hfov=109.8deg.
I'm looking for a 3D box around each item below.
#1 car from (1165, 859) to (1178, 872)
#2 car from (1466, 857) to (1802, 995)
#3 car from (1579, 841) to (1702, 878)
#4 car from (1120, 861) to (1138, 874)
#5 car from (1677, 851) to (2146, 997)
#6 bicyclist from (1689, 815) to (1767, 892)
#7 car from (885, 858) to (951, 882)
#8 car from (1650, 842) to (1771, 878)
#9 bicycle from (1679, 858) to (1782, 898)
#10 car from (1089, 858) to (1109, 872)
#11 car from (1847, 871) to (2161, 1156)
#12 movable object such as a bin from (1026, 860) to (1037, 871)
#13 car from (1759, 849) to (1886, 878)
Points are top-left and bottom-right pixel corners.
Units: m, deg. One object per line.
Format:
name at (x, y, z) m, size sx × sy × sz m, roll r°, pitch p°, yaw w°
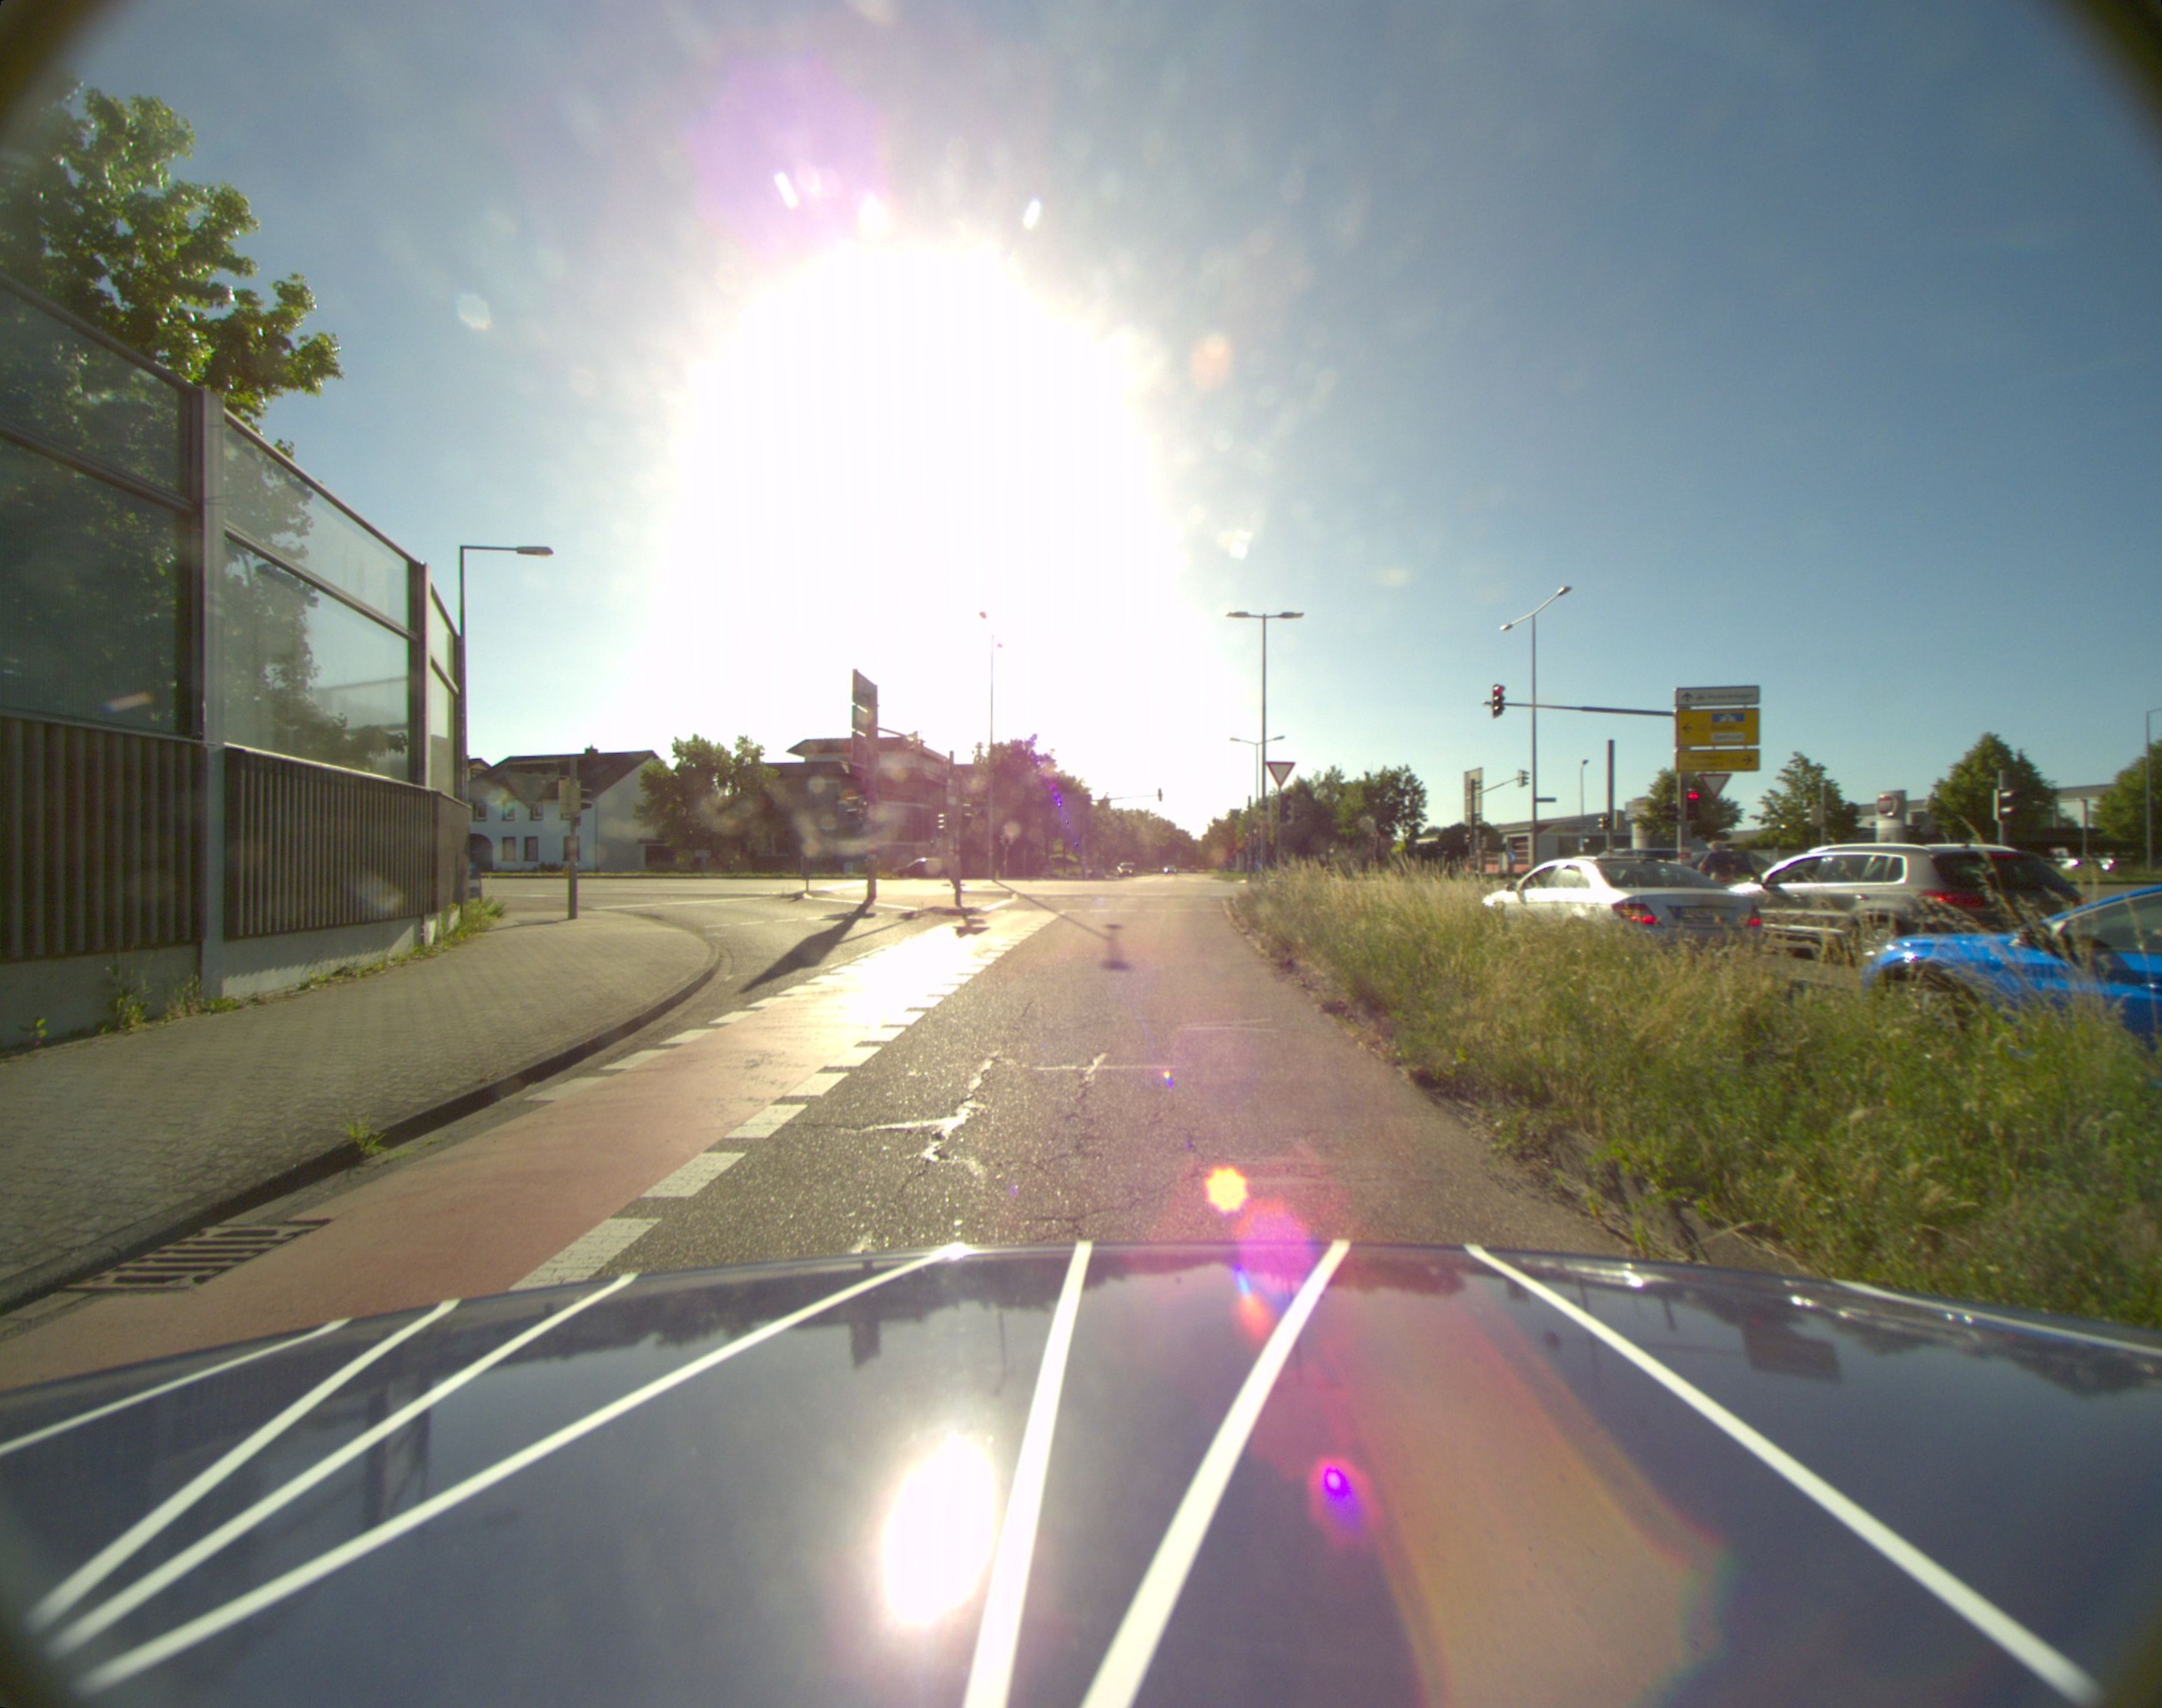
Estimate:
car at (14.172, 1.776, 119.203) m, size 1.729 × 2.002 × 4.001 m, roll 0°, pitch 1°, yaw 4°
car at (7.304, 0.806, 10.750) m, size 1.797 × 1.497 × 4.532 m, roll 0°, pitch 0°, yaw 6°
car at (31.104, 0.318, 42.332) m, size 5.271 × 2.001 × 2.049 m, roll 0°, pitch -2°, yaw 1°
car at (5.883, 1.605, 92.510) m, size 1.775 × 1.477 × 4.218 m, roll 1°, pitch 0°, yaw 8°
car at (11.154, 0.777, 10.869) m, size 1.997 × 1.634 × 4.532 m, roll 0°, pitch 0°, yaw 6°
bicyclist at (14.624, -0.016, 17.202) m, size 0.746 × 1.692 × 1.242 m, roll 0°, pitch 1°, yaw 5°
car at (-10.591, 1.038, 49.508) m, size 3.786 × 1.477 × 1.774 m, roll -1°, pitch -1°, yaw -33°
car at (29.240, 0.302, 35.389) m, size 4.036 × 1.634 × 1.894 m, roll 0°, pitch -2°, yaw 1°
bicycle at (14.631, 0.508, 17.202) m, size 0.750 × 0.843 × 1.991 m, roll 0°, pitch 0°, yaw 5°
car at (2.126, 1.221, 86.790) m, size 1.775 × 1.477 × 4.218 m, roll 1°, pitch 0°, yaw 8°
car at (6.614, 0.875, 3.856) m, size 1.750 × 1.474 × 3.889 m, roll 0°, pitch 0°, yaw 6°
movable object such as a bin at (-5.757, 1.329, 88.400) m, size 1.088 × 1.314 × 0.797 m, roll -1°, pitch 0°, yaw 8°
car at (34.521, 0.461, 35.469) m, size 4.036 × 1.267 × 1.894 m, roll 0°, pitch -2°, yaw 1°
